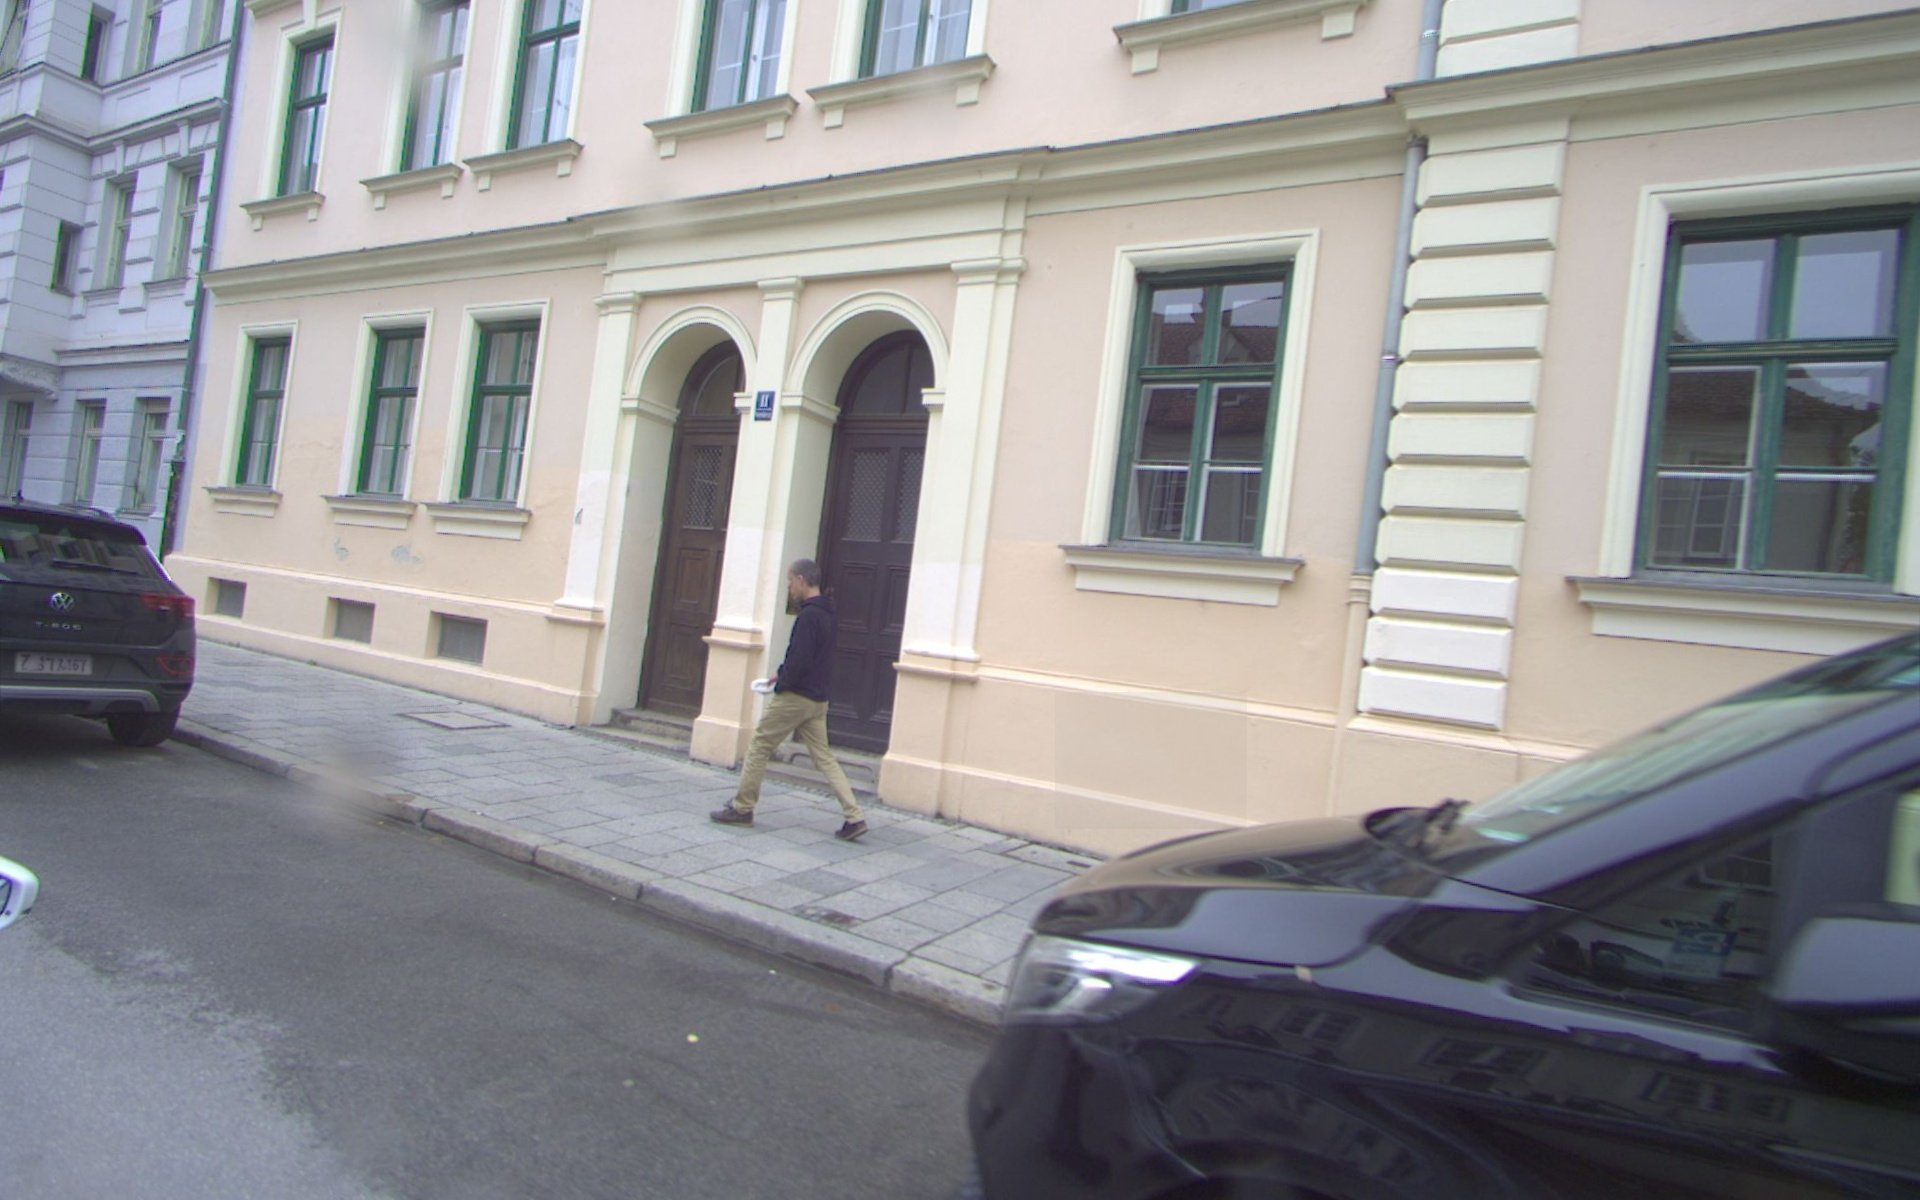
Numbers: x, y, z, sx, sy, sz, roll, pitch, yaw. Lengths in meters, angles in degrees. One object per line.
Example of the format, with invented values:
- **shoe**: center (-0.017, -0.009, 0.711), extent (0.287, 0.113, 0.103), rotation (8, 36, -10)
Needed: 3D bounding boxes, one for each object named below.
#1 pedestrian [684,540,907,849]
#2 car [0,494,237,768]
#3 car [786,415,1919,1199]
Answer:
- **pedestrian**: center (-1.025, 0.561, 6.337), extent (0.986, 1.737, 0.720), rotation (5, -1, 28)
- **car**: center (-7.085, 0.009, 6.887), extent (4.202, 1.538, 1.759), rotation (6, -2, 30)
- **car**: center (2.439, 0.940, 1.454), extent (5.165, 1.885, 2.002), rotation (7, -2, 31)
